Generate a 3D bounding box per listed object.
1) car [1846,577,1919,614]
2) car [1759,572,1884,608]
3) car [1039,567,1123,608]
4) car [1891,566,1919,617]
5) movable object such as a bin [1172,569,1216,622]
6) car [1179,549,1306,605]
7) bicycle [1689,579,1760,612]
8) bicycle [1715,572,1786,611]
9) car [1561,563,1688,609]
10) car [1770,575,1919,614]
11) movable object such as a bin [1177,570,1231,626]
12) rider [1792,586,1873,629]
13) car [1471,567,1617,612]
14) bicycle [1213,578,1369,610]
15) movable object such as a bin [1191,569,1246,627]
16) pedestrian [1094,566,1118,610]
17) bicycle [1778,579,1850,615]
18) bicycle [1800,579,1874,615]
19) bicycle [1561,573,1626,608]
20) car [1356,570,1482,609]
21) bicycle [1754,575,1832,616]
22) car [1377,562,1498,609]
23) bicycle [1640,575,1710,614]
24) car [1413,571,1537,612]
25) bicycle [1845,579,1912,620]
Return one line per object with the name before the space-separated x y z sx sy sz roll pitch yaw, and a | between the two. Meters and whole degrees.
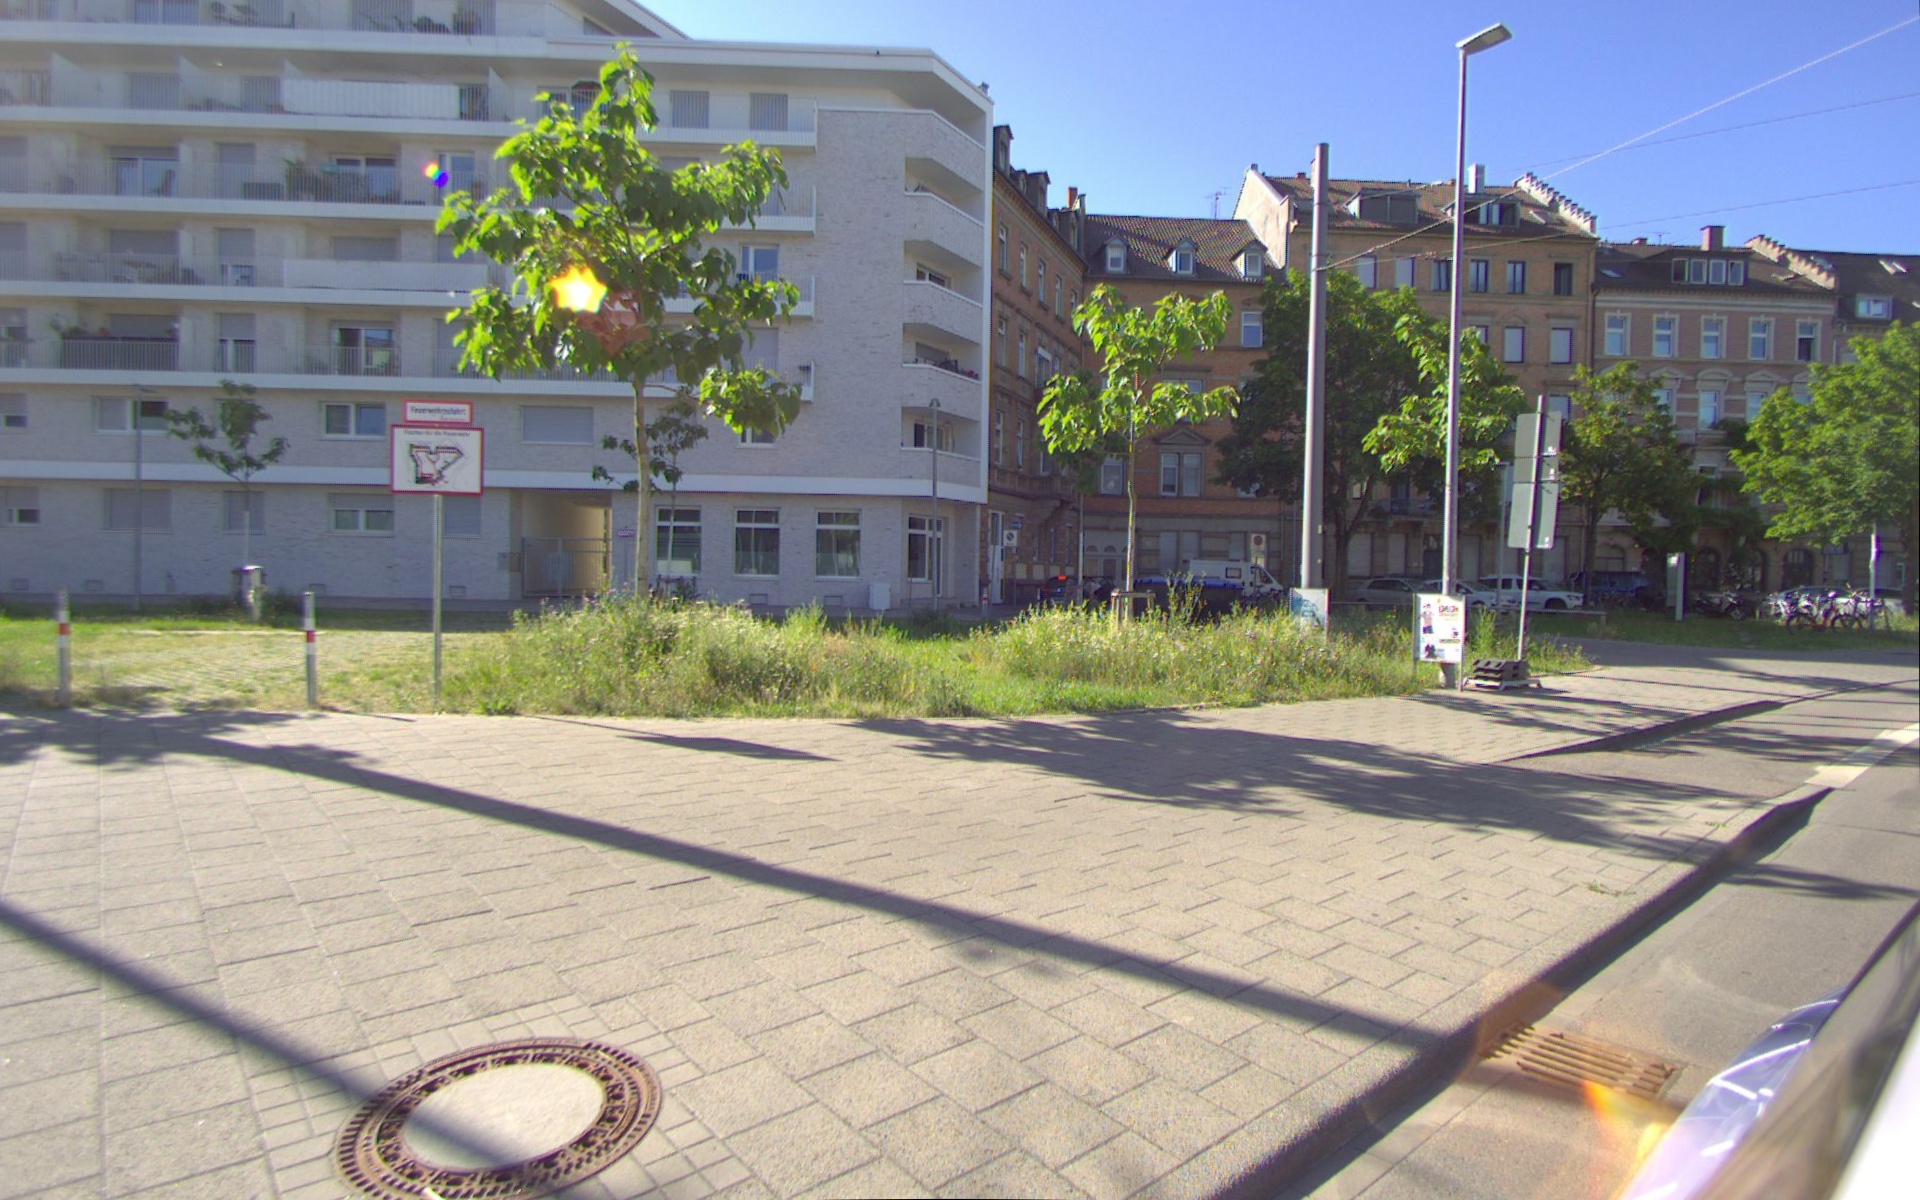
car | 37.566 -0.167 39.900 1.889 1.397 3.615 0 2 -35
car | 41.558 -0.493 48.862 4.422 1.547 2.004 1 3 -6
car | 4.576 -0.499 37.815 1.979 1.454 4.074 1 1 24
car | 40.518 -0.262 40.157 2.061 2.037 4.882 -1 4 -36
movable object such as a bin | 6.529 -0.144 28.203 1.076 1.416 1.026 1 1 18
car | 12.975 -1.106 46.798 5.087 2.386 2.359 2 3 -1
bicycle | 28.351 -0.193 37.573 0.806 1.173 2.172 1 1 -6
bicycle | 29.355 -0.329 37.628 0.771 1.382 2.103 1 1 -8
car | 31.343 -0.685 47.837 4.632 2.001 2.002 1 3 -2
car | 34.855 -0.255 39.437 2.007 1.397 4.753 0 2 -35
movable object such as a bin | 6.499 -0.069 26.919 1.303 1.416 1.105 1 1 18
rider | 24.864 0.219 28.859 1.652 1.191 0.501 -1 0 15
car | 22.283 -0.441 38.805 1.900 1.585 4.473 0 2 -33
bicycle | 12.841 -0.267 39.533 5.116 1.141 2.687 1 1 -7
movable object such as a bin | 6.580 -0.061 25.755 1.286 1.416 1.066 1 1 18
pedestrian | 5.349 -0.437 37.144 0.756 1.596 0.643 0 1 -2
bicycle | 30.969 -0.128 36.727 0.825 1.206 1.966 1 3 -3
bicycle | 31.871 -0.122 36.824 0.882 1.195 1.953 0 3 -3
bicycle | 25.784 -0.389 41.225 0.774 1.382 2.096 0 1 -42
car | 17.188 -0.413 38.091 1.802 1.354 4.063 0 2 -27
bicycle | 28.999 -0.191 35.273 0.771 1.382 2.103 0 1 -8
car | 22.377 -0.682 47.510 4.632 2.001 2.002 2 3 -2
bicycle | 26.188 -0.221 37.122 0.771 1.416 2.104 0 1 -13
car | 19.573 -0.369 38.576 1.726 1.459 3.846 0 2 -33
bicycle | 31.650 -0.037 34.908 1.589 1.306 0.760 3 3 38
